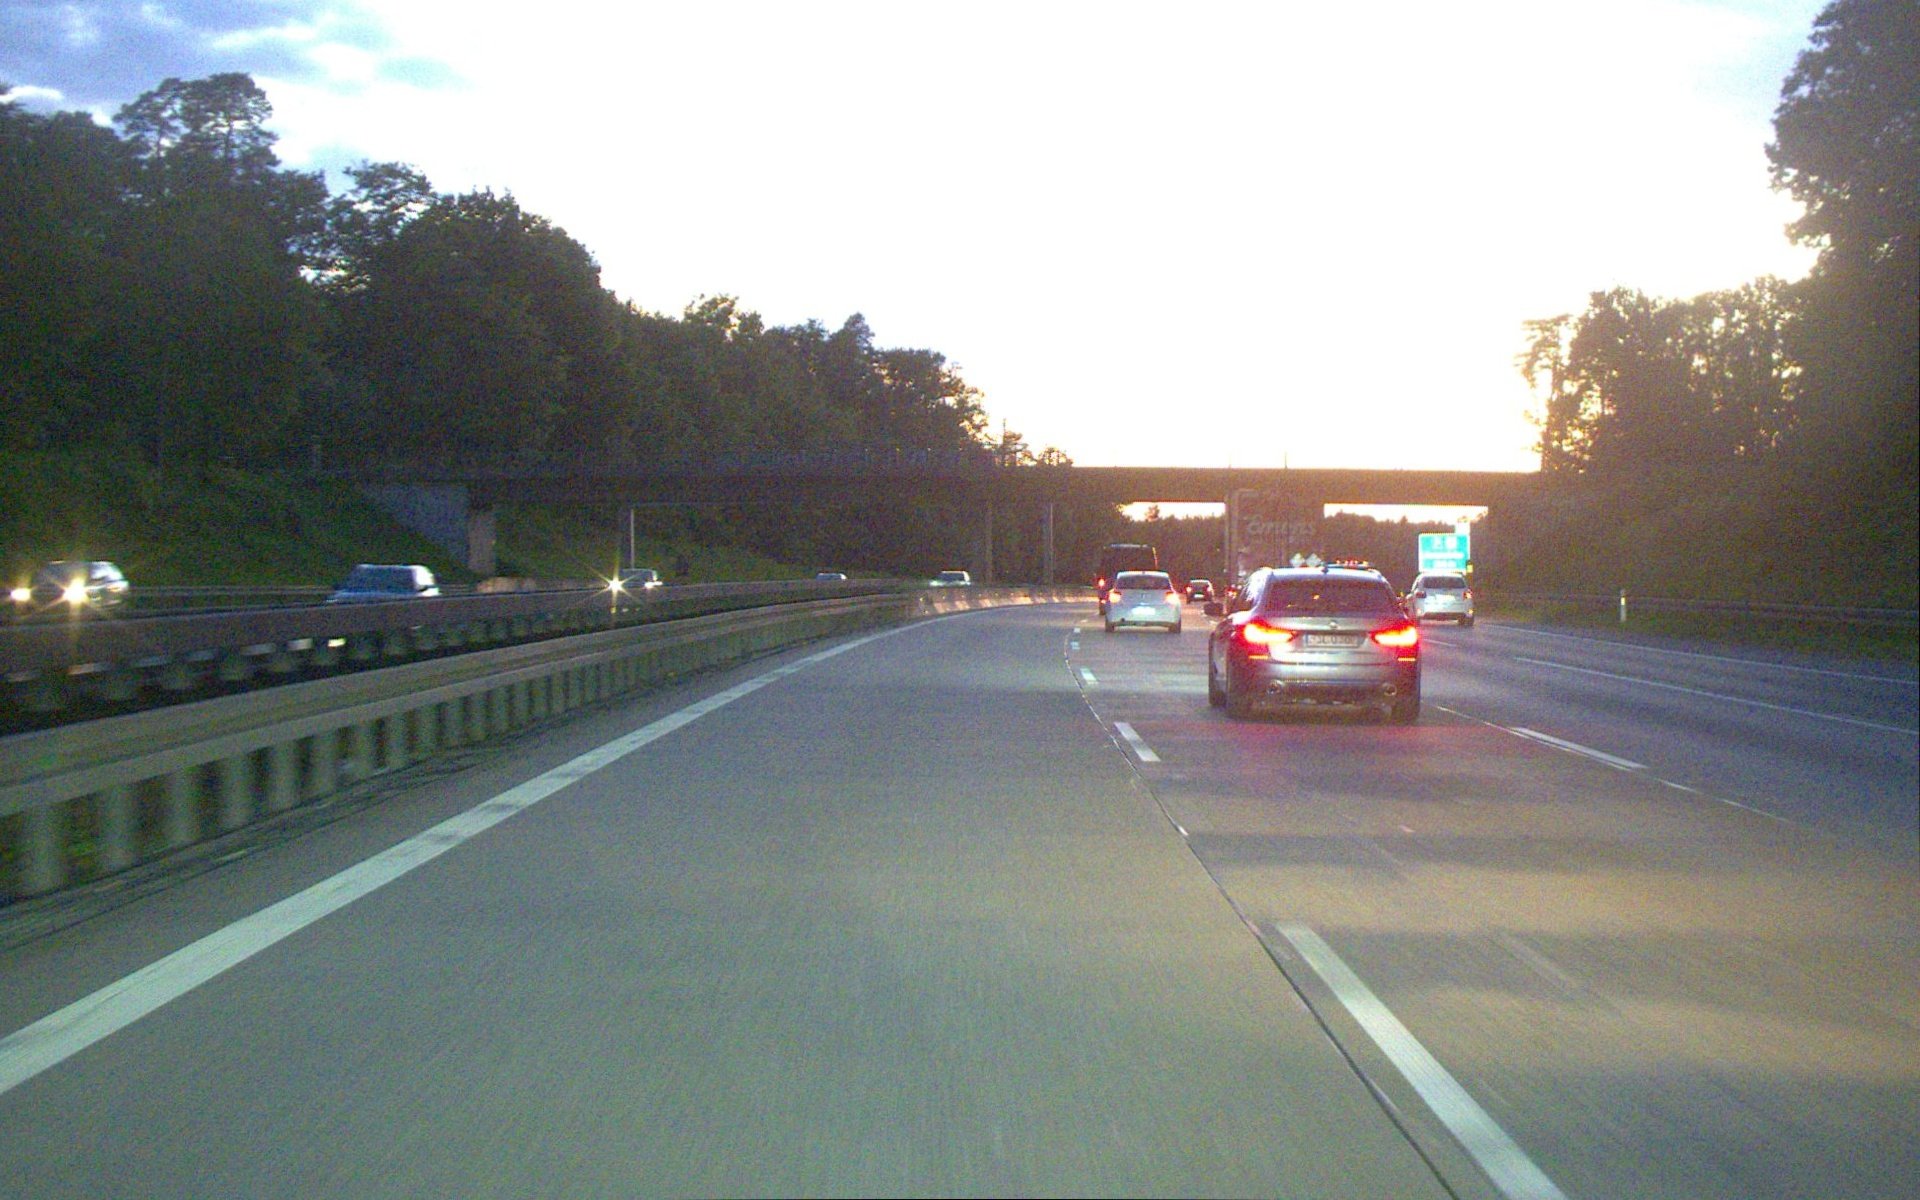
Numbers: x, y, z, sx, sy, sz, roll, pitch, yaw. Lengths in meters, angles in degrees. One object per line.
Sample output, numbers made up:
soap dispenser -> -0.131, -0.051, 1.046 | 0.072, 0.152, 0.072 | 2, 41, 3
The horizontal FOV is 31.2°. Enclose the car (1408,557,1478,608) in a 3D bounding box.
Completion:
car -> 14.074, -0.504, 100.328 | 1.859, 1.437, 4.110 | 0, 0, 6

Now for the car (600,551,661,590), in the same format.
car -> -12.712, -1.145, 132.718 | 1.843, 1.450, 3.602 | 1, 1, 3

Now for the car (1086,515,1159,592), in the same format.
car -> 5.513, -1.544, 116.178 | 2.166, 2.411, 5.562 | 1, -1, 6

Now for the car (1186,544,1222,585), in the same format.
car -> 15.314, -2.209, 215.497 | 2.166, 2.411, 5.563 | 1, -1, 4

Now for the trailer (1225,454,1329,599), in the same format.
trailer -> 9.694, -2.161, 106.066 | 2.907, 4.087, 10.355 | 1, -1, 4

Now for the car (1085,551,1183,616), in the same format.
car -> 4.049, -0.400, 80.549 | 1.859, 1.437, 3.721 | 0, 1, -4

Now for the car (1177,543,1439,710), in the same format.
car -> 3.427, 0.206, 34.860 | 1.909, 1.532, 5.232 | 0, 1, -2

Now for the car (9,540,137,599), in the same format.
car -> -21.841, -0.763, 84.802 | 1.815, 1.376, 4.908 | 1, 1, 1

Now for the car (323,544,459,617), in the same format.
car -> -11.264, -0.412, 68.366 | 1.815, 1.376, 4.908 | 1, 1, 1

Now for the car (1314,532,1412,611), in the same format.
car -> 8.715, -0.607, 74.710 | 1.903, 1.638, 5.051 | 0, 0, 4
